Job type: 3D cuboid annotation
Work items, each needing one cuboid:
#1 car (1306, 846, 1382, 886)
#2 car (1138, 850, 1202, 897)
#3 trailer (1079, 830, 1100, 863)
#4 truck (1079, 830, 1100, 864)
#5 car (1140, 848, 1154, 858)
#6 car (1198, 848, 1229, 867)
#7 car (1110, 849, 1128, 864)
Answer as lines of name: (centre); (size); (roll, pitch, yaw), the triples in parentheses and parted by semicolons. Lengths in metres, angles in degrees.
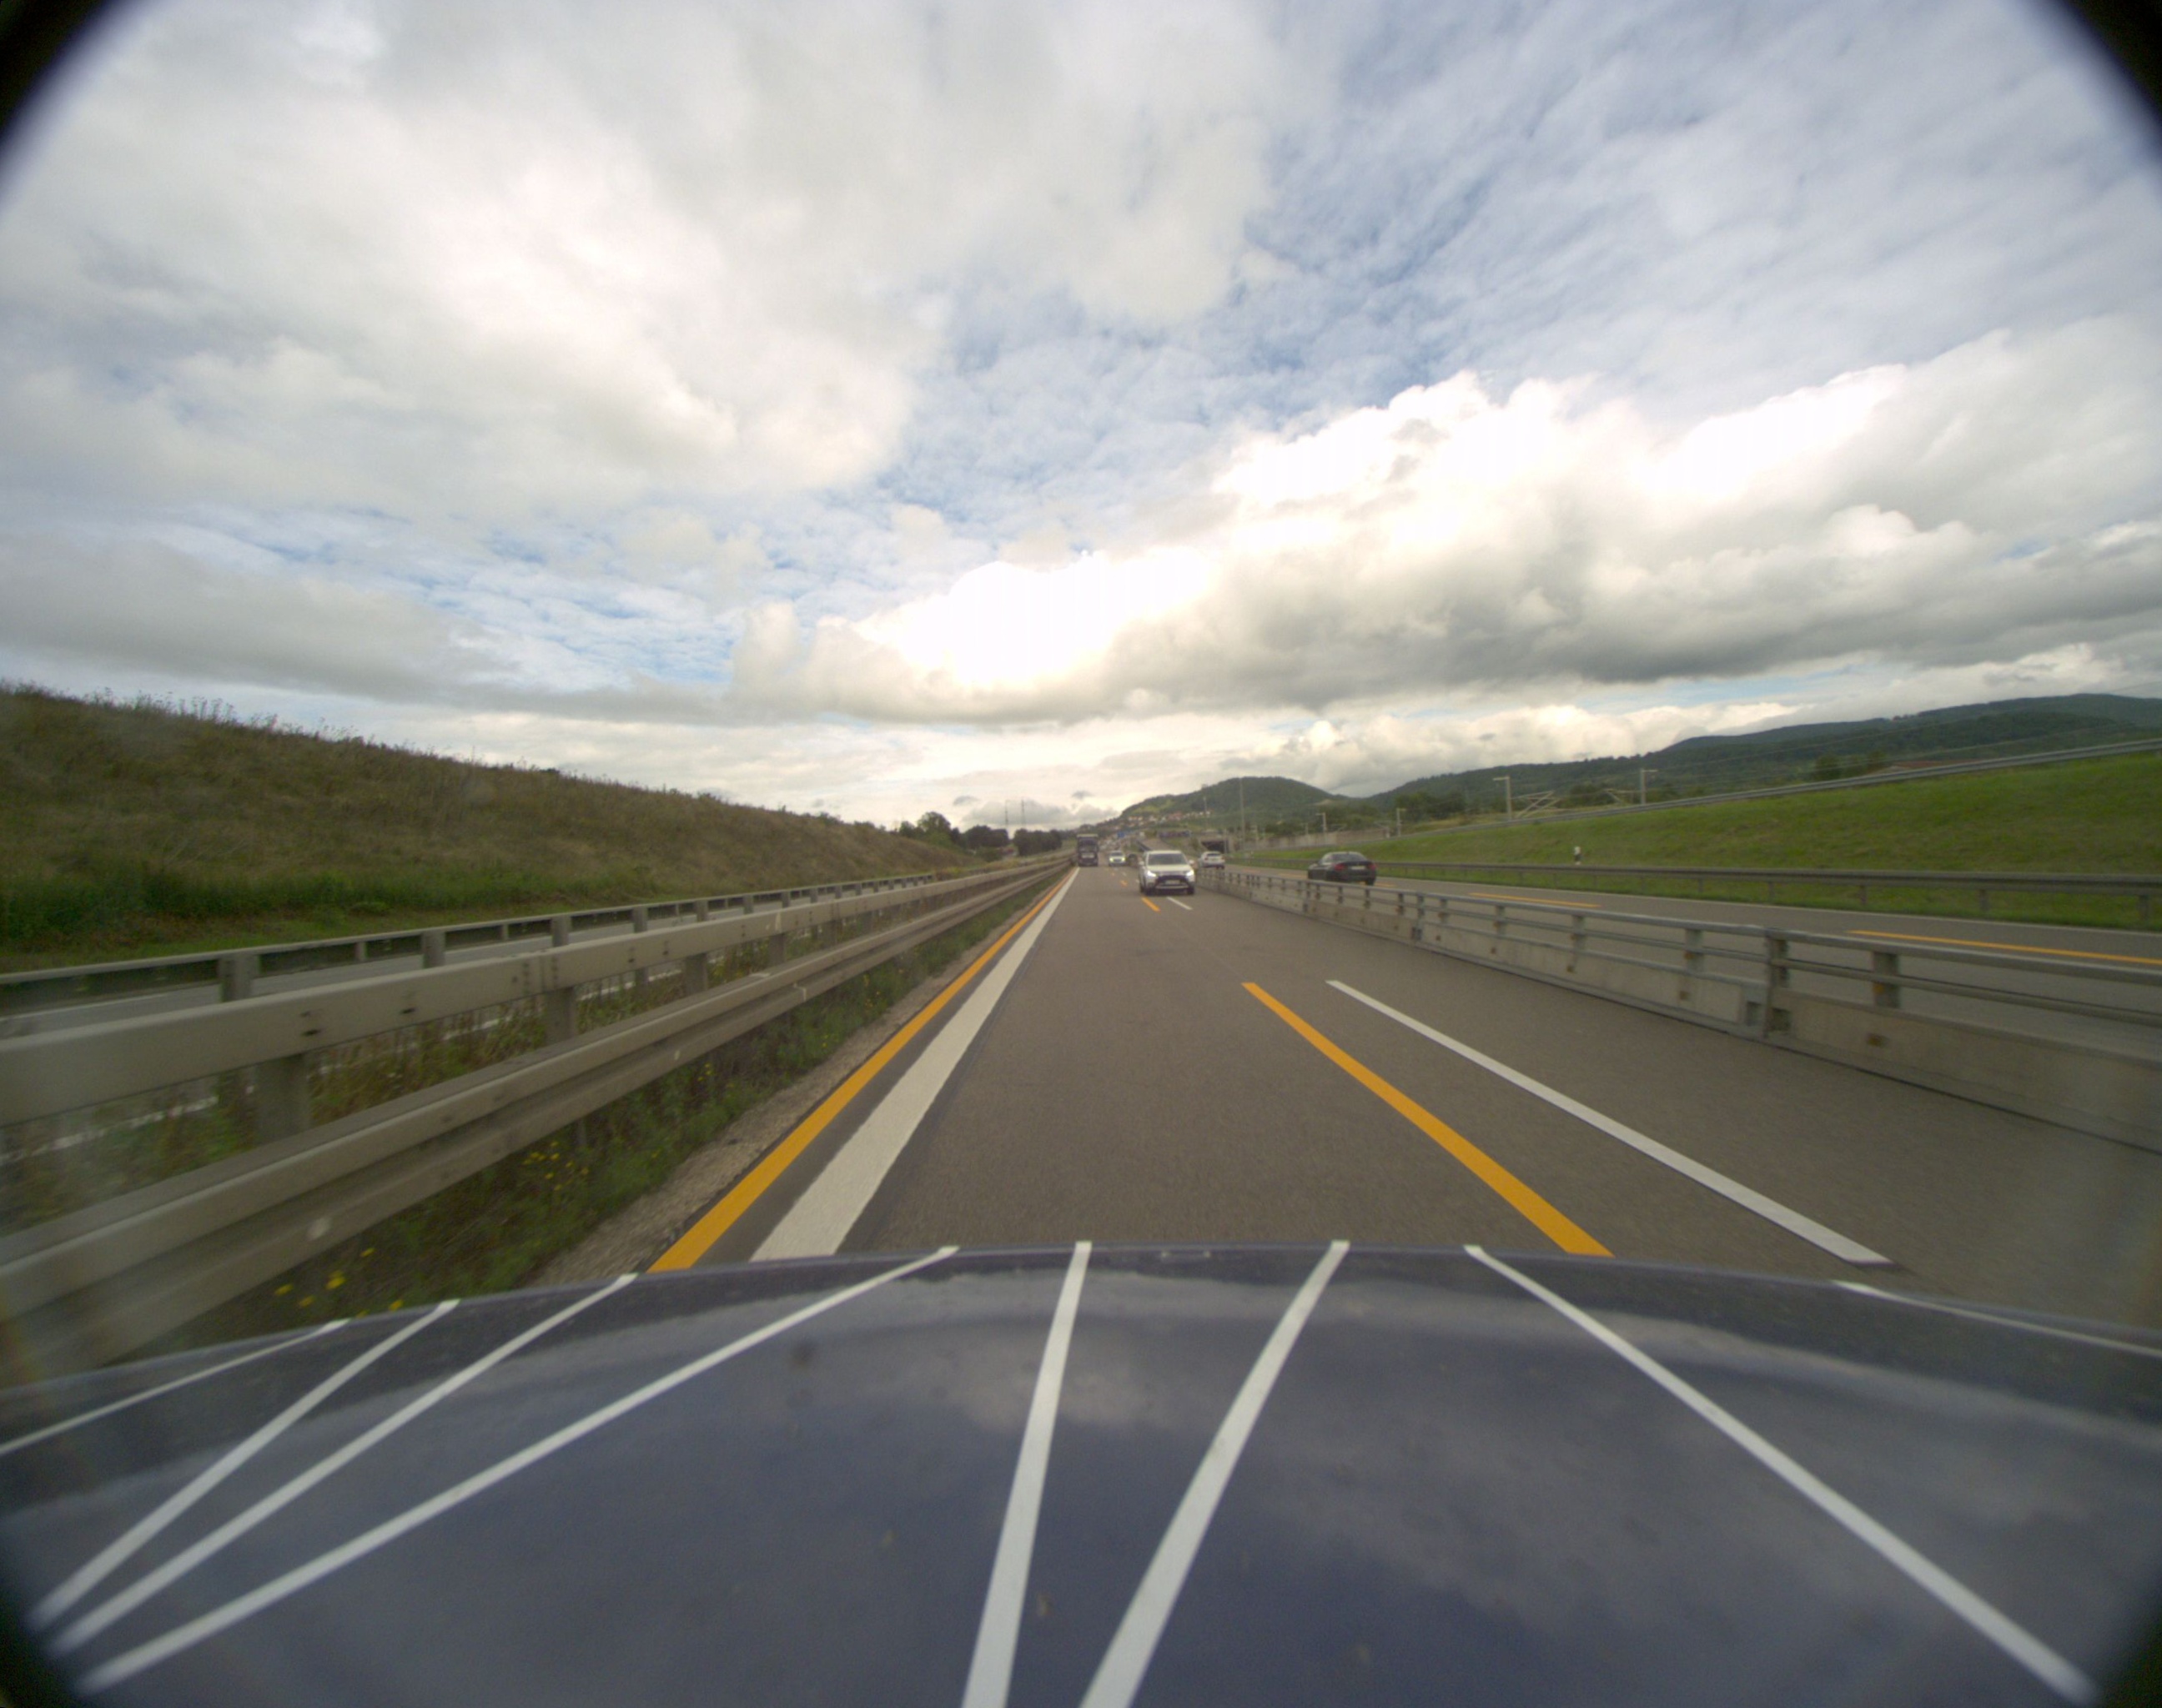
car: (10.817, 0.457, 31.570); (1.792, 1.507, 4.135); (-1, 1, 1)
car: (3.322, 0.676, 29.098); (1.998, 1.618, 4.607); (-1, 0, 2)
trailer: (1.220, -0.934, 101.756); (2.521, 4.081, 11.113); (-2, 0, 1)
truck: (1.119, -0.898, 96.845); (2.521, 4.081, 5.685); (-2, 0, 1)
car: (11.242, -0.110, 129.764); (2.094, 1.571, 4.281); (-2, 1, 1)
car: (11.210, 0.268, 64.479); (1.894, 1.517, 4.182); (-2, 0, 1)
car: (4.622, 0.279, 92.142); (1.991, 1.787, 4.586); (-2, 0, 1)
